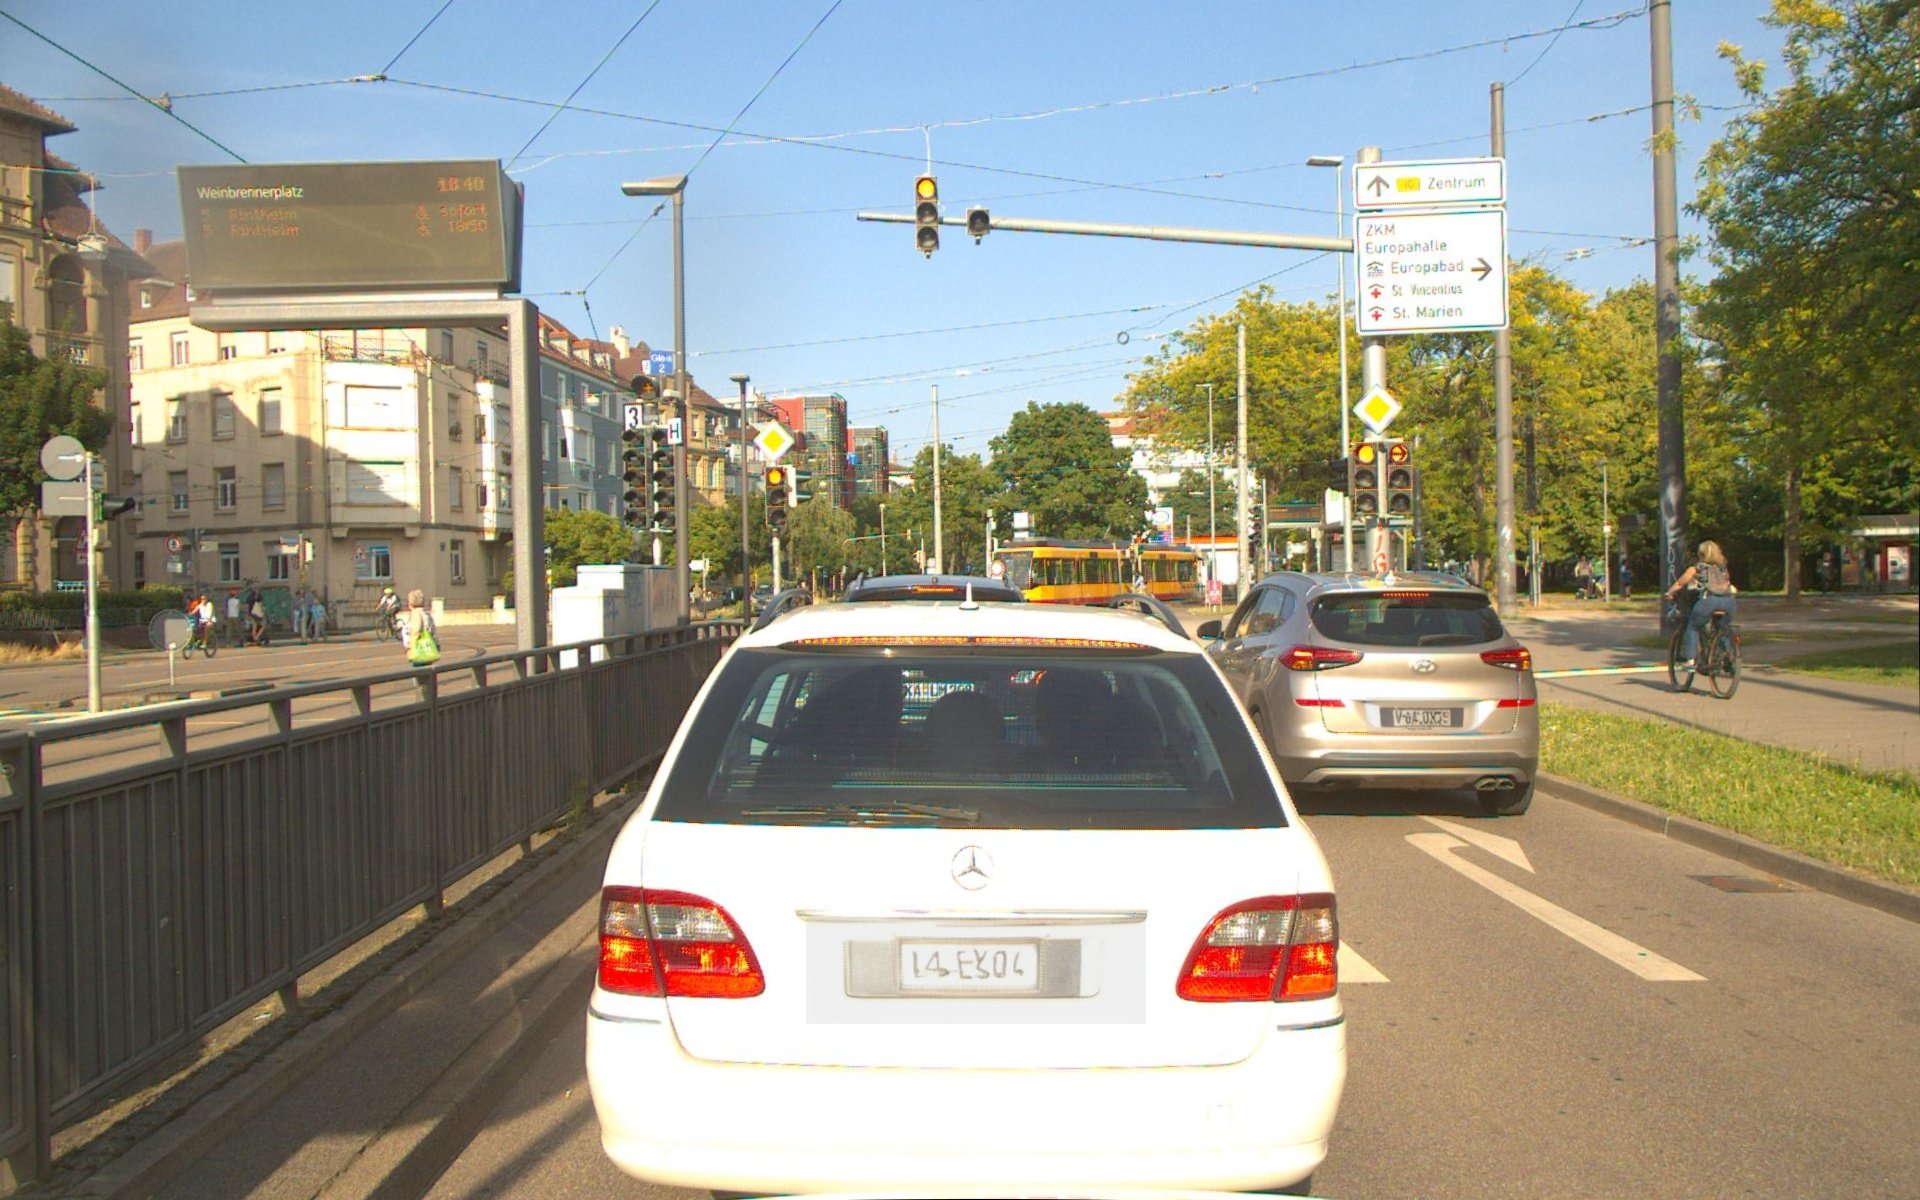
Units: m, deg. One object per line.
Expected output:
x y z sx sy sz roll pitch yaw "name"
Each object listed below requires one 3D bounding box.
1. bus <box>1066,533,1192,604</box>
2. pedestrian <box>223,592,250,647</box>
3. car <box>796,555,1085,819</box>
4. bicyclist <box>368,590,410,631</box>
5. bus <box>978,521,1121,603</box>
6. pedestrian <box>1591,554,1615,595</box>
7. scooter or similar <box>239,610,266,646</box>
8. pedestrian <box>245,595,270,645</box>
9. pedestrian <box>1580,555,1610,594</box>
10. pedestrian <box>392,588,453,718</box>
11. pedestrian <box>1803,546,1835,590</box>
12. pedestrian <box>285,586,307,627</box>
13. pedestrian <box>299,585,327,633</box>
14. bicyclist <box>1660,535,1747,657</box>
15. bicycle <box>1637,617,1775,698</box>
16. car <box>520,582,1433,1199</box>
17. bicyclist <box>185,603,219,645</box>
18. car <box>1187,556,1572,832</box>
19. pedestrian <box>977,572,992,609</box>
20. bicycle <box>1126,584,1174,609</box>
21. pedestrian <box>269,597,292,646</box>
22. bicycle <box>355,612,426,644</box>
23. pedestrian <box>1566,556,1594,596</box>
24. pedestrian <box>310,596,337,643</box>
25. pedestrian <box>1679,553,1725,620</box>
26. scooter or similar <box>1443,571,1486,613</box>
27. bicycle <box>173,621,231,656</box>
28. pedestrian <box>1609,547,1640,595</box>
9.728 -1.656 93.327 3.047 3.669 12.581 1 0 25 "bus"
-22.144 0.598 50.608 0.497 1.654 0.608 -1 0 1 "pedestrian"
-0.144 0.552 12.546 1.846 1.680 3.647 1 0 -1 "car"
-18.429 0.342 53.412 0.747 1.284 1.175 -1 0 11 "bicyclist"
4.651 -1.753 81.934 3.046 3.669 12.370 1 0 23 "bus"
24.600 -0.974 63.240 0.797 1.513 0.700 -1 0 24 "pedestrian"
-21.932 0.874 51.276 0.532 1.098 0.683 1 0 -1 "scooter or similar"
-21.513 0.607 50.622 0.428 1.527 0.549 -1 0 14 "pedestrian"
24.860 -0.994 64.756 0.799 1.513 0.699 -1 0 -12 "pedestrian"
-6.899 0.668 21.245 0.601 1.627 0.632 -1 0 -7 "pedestrian"
32.609 -1.206 62.816 0.818 1.665 0.803 -1 0 5 "pedestrian"
-28.123 0.267 70.042 0.606 1.689 0.586 -1 0 14 "pedestrian"
-27.728 0.384 70.926 0.758 2.049 0.787 -1 0 14 "pedestrian"
8.090 -0.047 18.017 0.523 1.284 0.869 -1 0 -1 "bicyclist"
8.118 0.605 18.093 0.485 0.770 2.168 -2 0 -1 "bicycle"
0.007 0.702 5.016 1.759 1.496 3.647 0 0 -1 "car"
-19.762 0.632 43.135 0.502 1.062 0.680 -1 0 7 "bicyclist"
2.888 0.573 12.208 1.846 1.680 3.647 -2 0 -1 "car"
1.301 -0.496 87.091 0.628 1.889 0.552 -1 0 11 "pedestrian"
9.831 -0.186 85.494 2.430 1.234 0.807 -1 0 7 "bicycle"
-21.337 0.682 51.924 0.523 1.527 0.389 -1 0 14 "pedestrian"
-18.360 0.877 53.402 0.767 0.930 3.000 -1 0 11 "bicycle"
24.052 -0.928 64.136 0.809 1.513 0.690 -2 0 -42 "pedestrian"
-21.671 0.671 56.286 0.616 1.568 0.711 -1 0 -1 "pedestrian"
18.843 -0.343 42.024 0.748 1.665 0.797 -2 0 -40 "pedestrian"
13.982 -0.227 45.837 0.413 1.136 1.322 -1 0 -20 "scooter or similar"
-19.756 1.003 43.150 0.515 0.849 1.688 -1 0 9 "bicycle"
25.878 -1.124 64.416 0.784 1.816 0.838 -1 0 -5 "pedestrian"
